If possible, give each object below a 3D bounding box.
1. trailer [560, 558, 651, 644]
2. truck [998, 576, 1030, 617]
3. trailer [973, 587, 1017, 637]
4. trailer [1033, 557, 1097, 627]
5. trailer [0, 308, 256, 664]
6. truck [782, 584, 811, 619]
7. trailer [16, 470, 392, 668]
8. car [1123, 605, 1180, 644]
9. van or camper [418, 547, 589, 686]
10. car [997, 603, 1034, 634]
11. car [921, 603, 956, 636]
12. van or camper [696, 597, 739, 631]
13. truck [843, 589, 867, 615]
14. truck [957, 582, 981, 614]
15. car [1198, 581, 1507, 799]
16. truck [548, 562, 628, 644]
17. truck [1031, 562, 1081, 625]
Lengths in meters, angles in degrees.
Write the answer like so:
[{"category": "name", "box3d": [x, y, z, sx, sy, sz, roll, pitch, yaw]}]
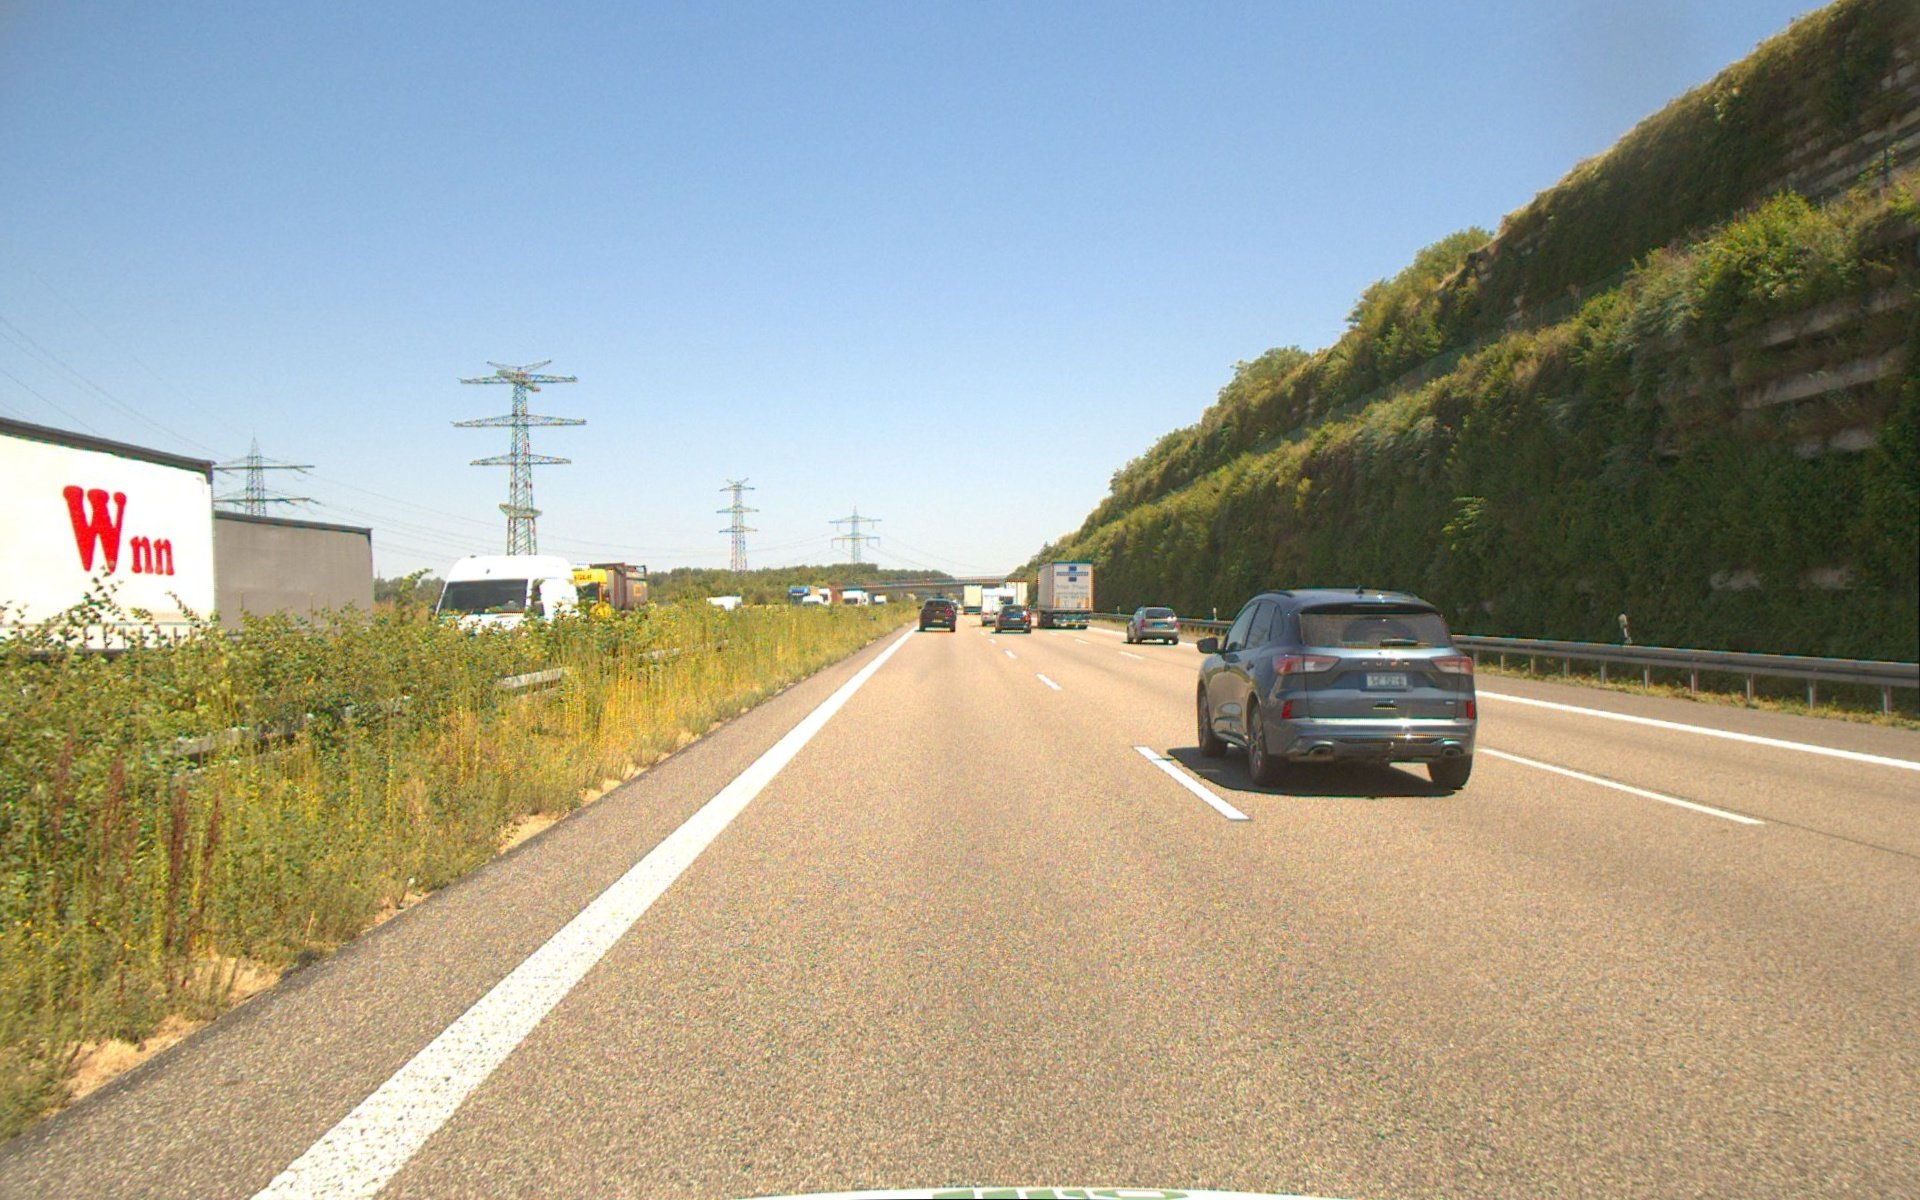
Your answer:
[{"category": "trailer", "box3d": [-18.112, 0.066, 85.041, 2.681, 4.116, 9.422, -1, 0, -1]}, {"category": "truck", "box3d": [6.100, -0.373, 187.108, 3.055, 4.355, 11.931, -1, 0, -1]}, {"category": "trailer", "box3d": [2.363, 0.780, 114.532, 2.558, 3.269, 9.950, -1, 0, -1]}, {"category": "trailer", "box3d": [6.698, -0.487, 107.728, 3.118, 4.193, 13.429, -1, 0, -1]}, {"category": "trailer", "box3d": [-13.312, -1.419, 21.299, 2.713, 4.426, 14.235, 0, 0, -2]}, {"category": "truck", "box3d": [-19.307, 0.196, 195.509, 2.805, 3.976, 5.620, -1, 0, -1]}, {"category": "trailer", "box3d": [-17.374, -0.593, 39.813, 2.713, 3.896, 14.237, 0, 0, -1]}, {"category": "car", "box3d": [7.546, 0.949, 65.542, 1.650, 1.453, 4.452, 0, 0, -1]}, {"category": "van or camper", "box3d": [-9.317, 0.317, 34.367, 1.953, 2.627, 6.283, 0, 0, -2]}, {"category": "car", "box3d": [2.907, 0.968, 87.118, 1.792, 1.552, 4.000, -1, 0, 0]}, {"category": "car", "box3d": [-1.181, 1.012, 89.370, 1.793, 1.700, 3.999, -1, 0, -1]}, {"category": "van or camper", "box3d": [-18.737, 1.047, 127.905, 2.393, 2.562, 6.482, -1, 0, -1]}, {"category": "truck", "box3d": [-14.638, 0.281, 230.290, 2.877, 3.473, 9.364, -2, 0, -1]}, {"category": "truck", "box3d": [1.259, -0.276, 237.371, 3.340, 4.355, 10.605, -1, 0, -1]}, {"category": "car", "box3d": [3.346, 0.698, 14.902, 1.757, 1.682, 4.137, 0, 0, -1]}, {"category": "truck", "box3d": [-18.055, 0.155, 80.551, 2.669, 3.793, 5.644, -1, 0, -1]}, {"category": "truck", "box3d": [6.609, -0.416, 114.744, 3.072, 4.214, 5.503, -1, 0, -1]}]
